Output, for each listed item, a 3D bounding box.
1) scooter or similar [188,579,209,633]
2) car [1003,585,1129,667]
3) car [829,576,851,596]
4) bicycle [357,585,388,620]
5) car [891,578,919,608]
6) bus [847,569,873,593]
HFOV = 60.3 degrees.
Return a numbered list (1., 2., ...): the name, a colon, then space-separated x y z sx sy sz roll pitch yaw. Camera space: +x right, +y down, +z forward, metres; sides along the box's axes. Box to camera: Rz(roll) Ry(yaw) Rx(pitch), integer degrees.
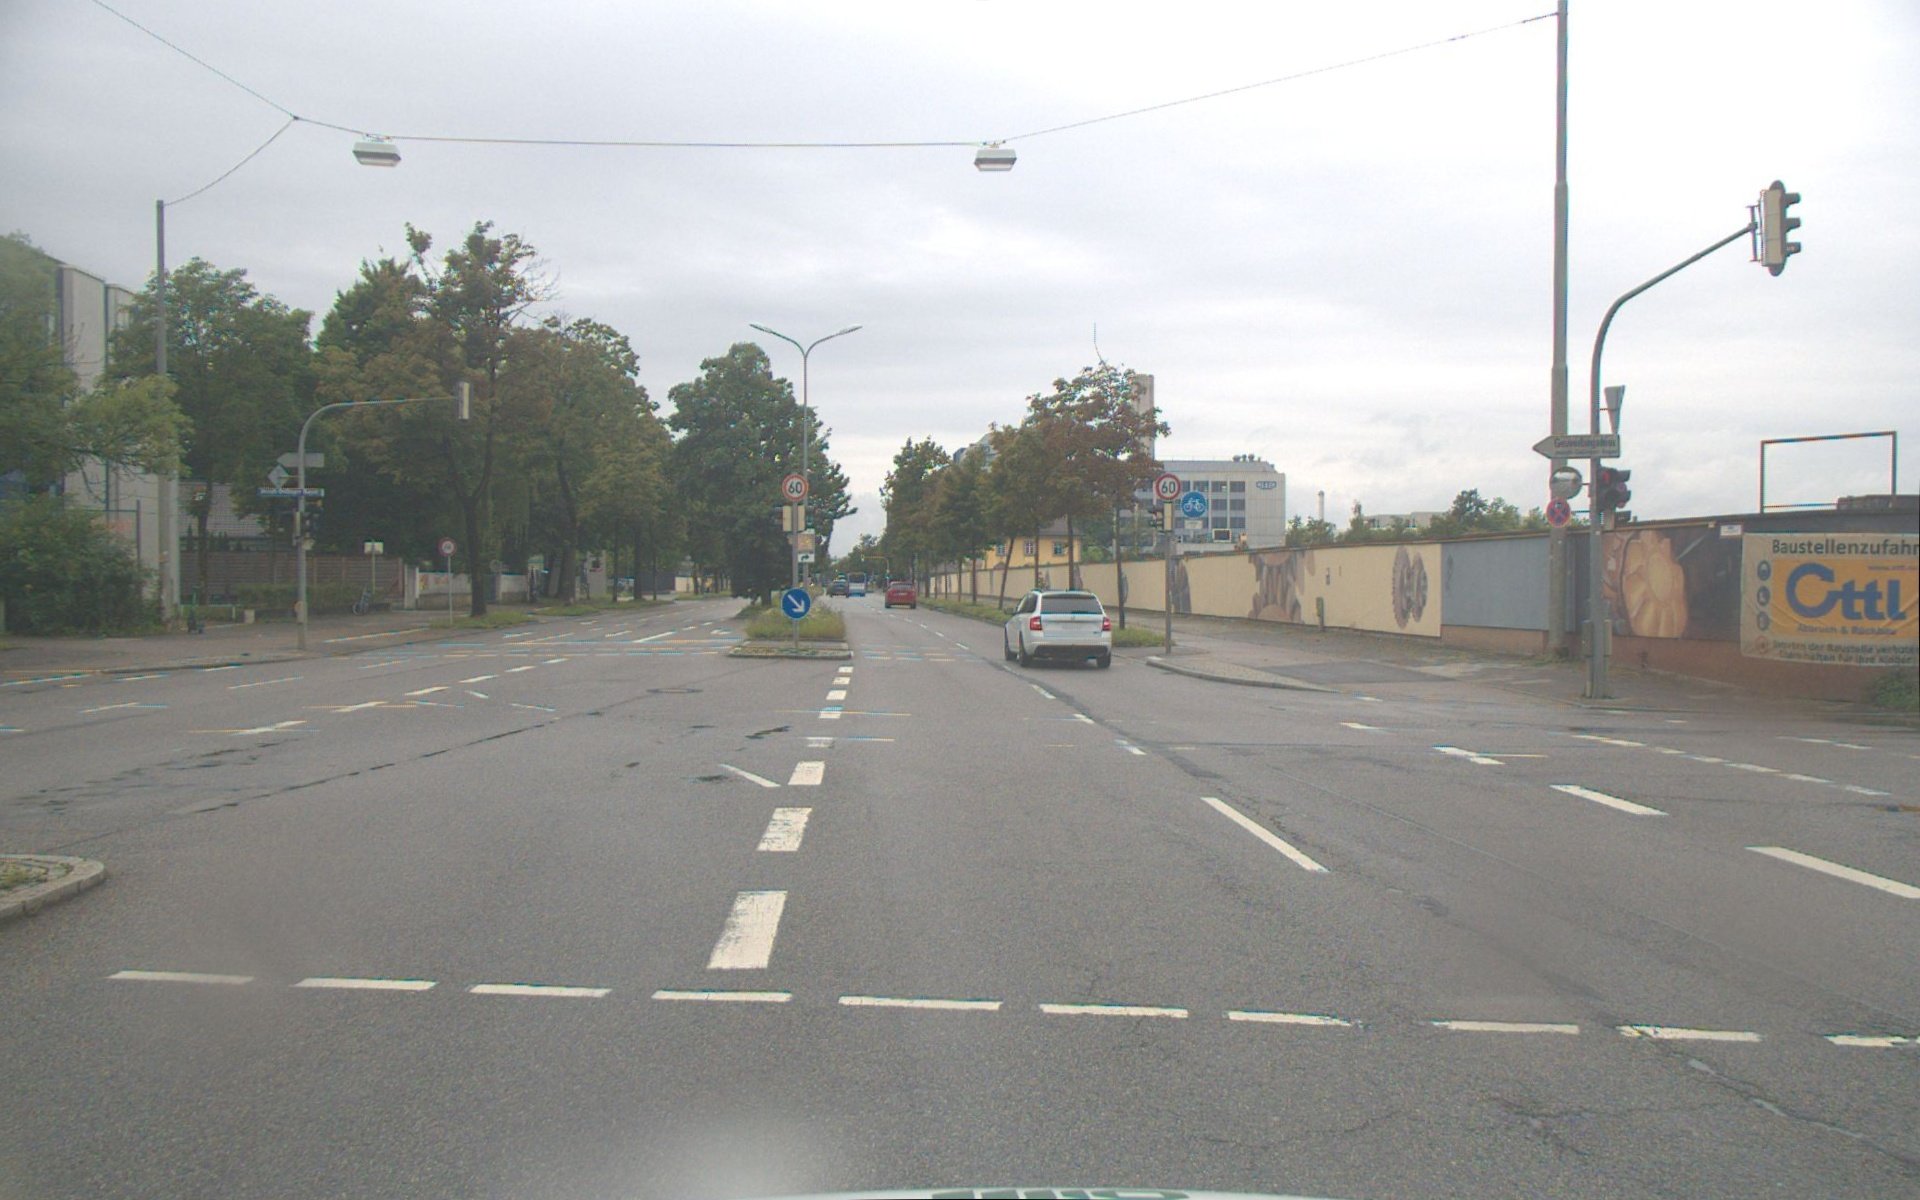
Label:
1. scooter or similar: -20.796 0.154 45.175 0.364 1.449 1.397 1 0 -20
2. car: 2.019 0.462 32.748 1.841 1.493 4.497 1 0 -5
3. car: -11.619 -1.328 160.118 2.044 1.898 4.381 1 0 -6
4. bicycle: -22.857 0.071 64.373 0.571 1.318 2.451 1 0 -7
5. car: -3.362 -0.445 100.867 1.455 1.745 3.547 1 0 -6
6. bus: -13.834 -2.587 227.876 3.158 3.181 10.332 1 0 -6
